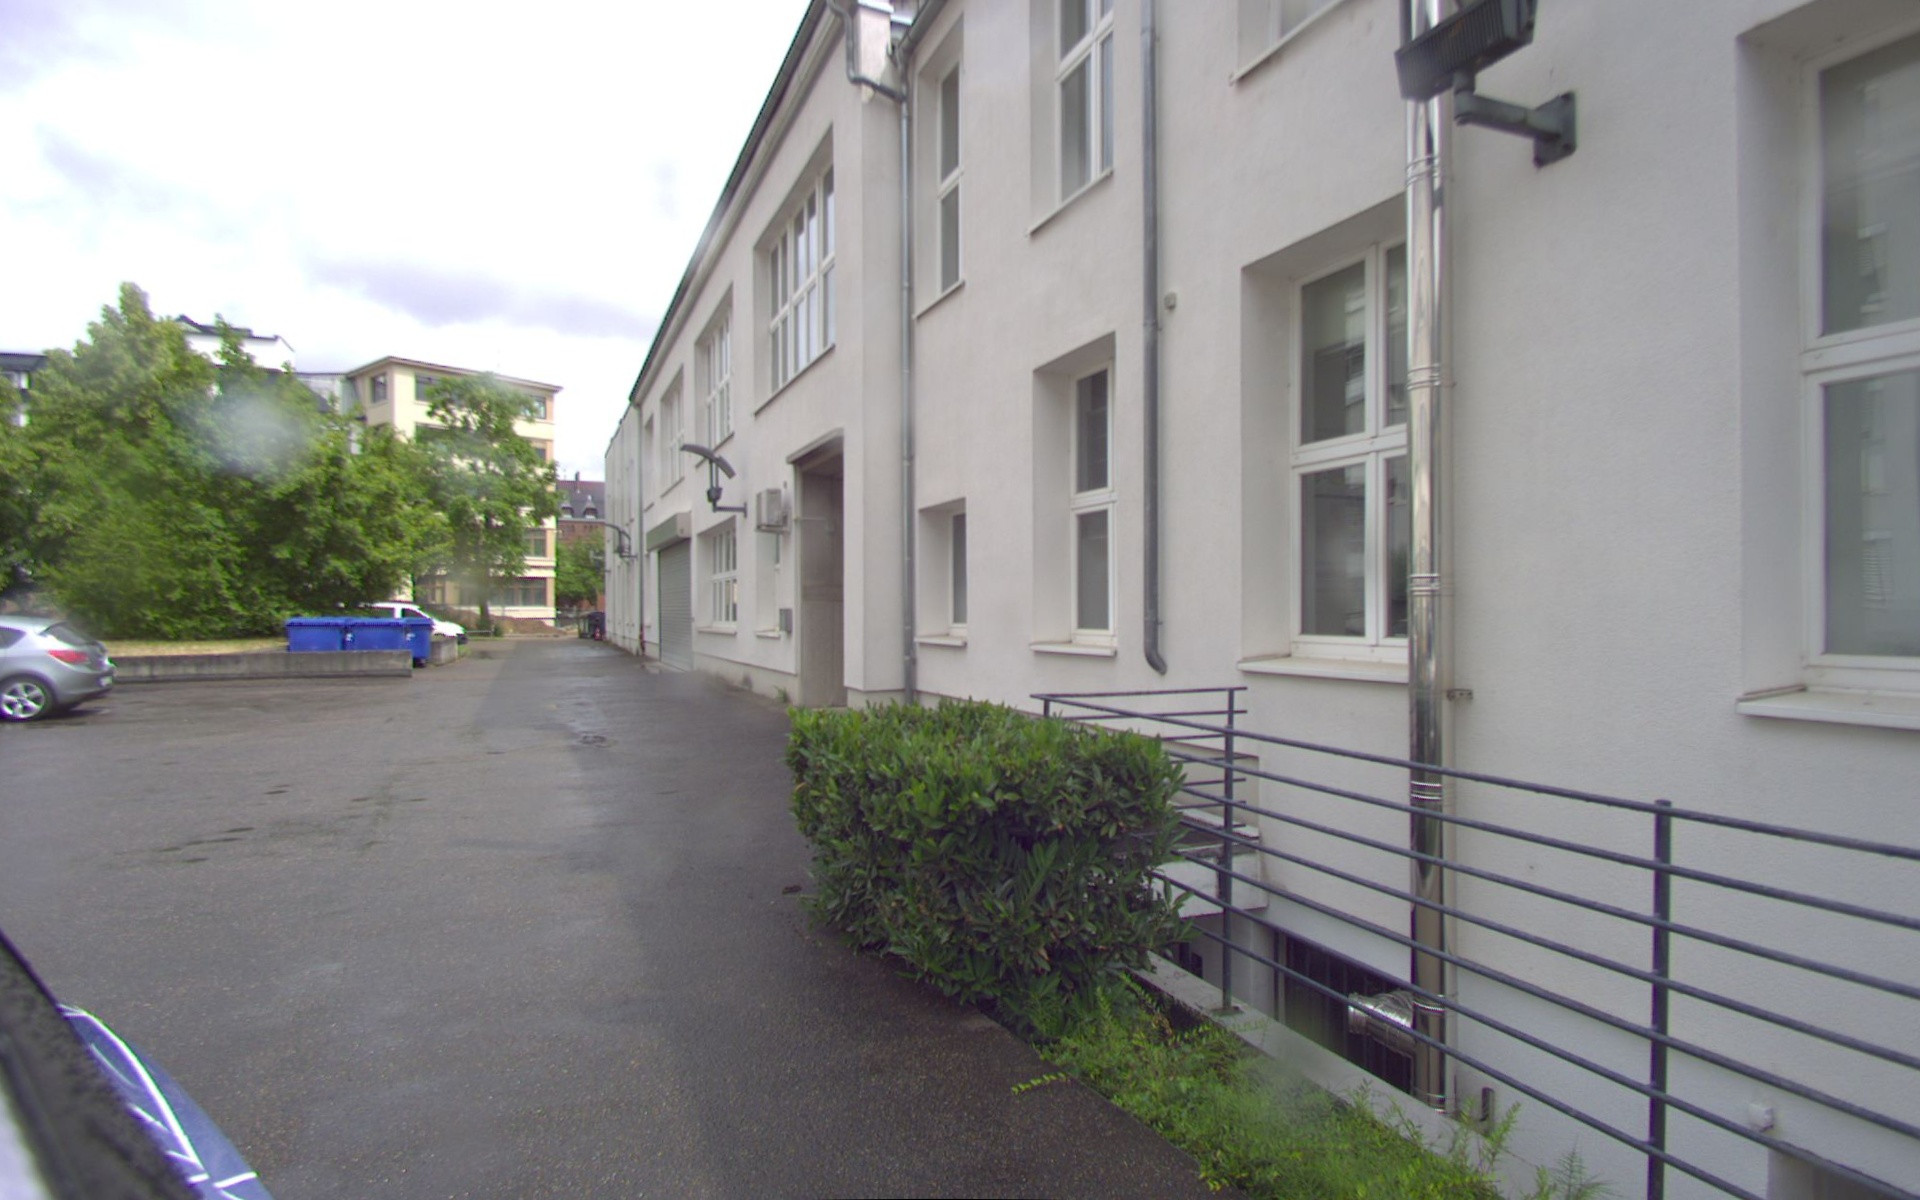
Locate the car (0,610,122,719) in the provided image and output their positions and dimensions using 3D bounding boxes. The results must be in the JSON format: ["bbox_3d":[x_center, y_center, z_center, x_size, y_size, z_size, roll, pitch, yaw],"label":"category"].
[{"bbox_3d":[-14.483,0.889,14.116,4.022,1.469,1.673,0,0,-27],"label":"car"}]

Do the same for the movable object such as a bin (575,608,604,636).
[{"bbox_3d":[-20.561,1.236,56.137,1.340,1.482,1.470,-2,-1,-24],"label":"movable object such as a bin"}]

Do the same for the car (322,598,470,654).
[{"bbox_3d":[-22.387,0.999,40.397,4.867,2.029,2.006,-1,0,-20],"label":"car"}]

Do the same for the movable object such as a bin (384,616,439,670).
[{"bbox_3d":[-14.556,1.131,26.880,1.158,1.327,1.059,-2,-1,-24],"label":"movable object such as a bin"}]

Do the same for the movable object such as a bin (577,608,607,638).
[{"bbox_3d":[-19.475,1.223,53.531,1.340,1.482,1.370,-2,-1,-24],"label":"movable object such as a bin"}]

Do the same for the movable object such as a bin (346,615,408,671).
[{"bbox_3d":[-14.382,1.052,25.017,1.212,1.327,1.059,0,-2,-24],"label":"movable object such as a bin"}]

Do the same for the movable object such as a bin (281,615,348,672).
[{"bbox_3d":[-15.572,1.042,24.461,1.212,1.327,1.059,0,-2,-24],"label":"movable object such as a bin"}]

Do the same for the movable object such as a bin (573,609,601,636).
[{"bbox_3d":[-21.234,1.291,57.586,1.389,1.482,1.566,-2,-1,-24],"label":"movable object such as a bin"}]

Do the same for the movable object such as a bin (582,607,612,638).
[{"bbox_3d":[-18.652,1.151,51.990,1.340,1.482,1.370,-2,-1,-24],"label":"movable object such as a bin"}]

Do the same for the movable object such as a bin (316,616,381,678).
[{"bbox_3d":[-15.719,1.194,26.045,1.257,1.494,1.105,-2,-1,-24],"label":"movable object such as a bin"}]
